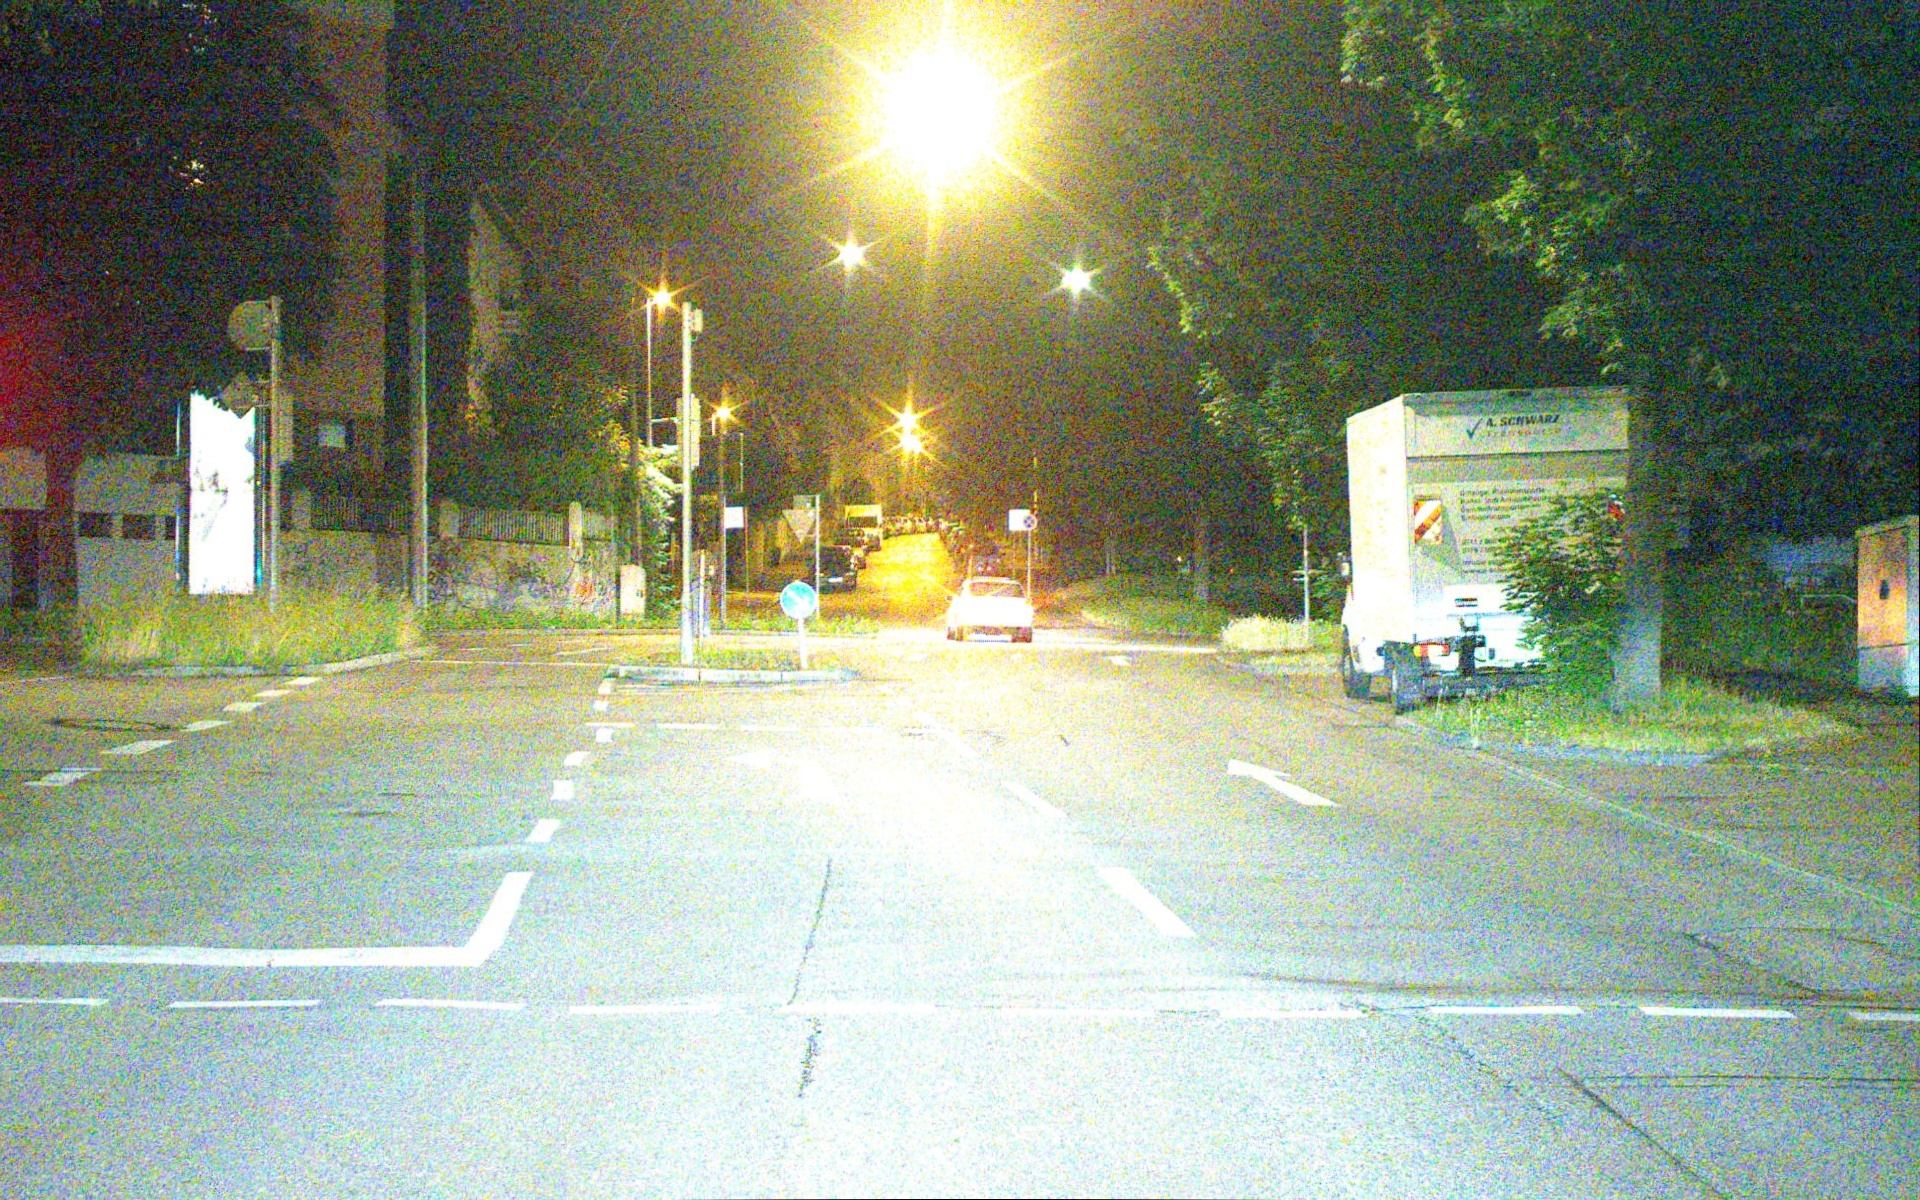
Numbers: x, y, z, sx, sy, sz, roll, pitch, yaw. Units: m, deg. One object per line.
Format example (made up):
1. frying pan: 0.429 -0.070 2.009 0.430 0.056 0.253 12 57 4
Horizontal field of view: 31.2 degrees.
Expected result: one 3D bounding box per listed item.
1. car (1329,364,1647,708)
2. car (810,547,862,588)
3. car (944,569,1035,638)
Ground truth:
1. car: 5.121 -0.617 34.221 2.297 3.082 5.840 -1 1 1
2. car: -4.847 -1.291 134.383 1.908 1.552 3.904 1 1 -1
3. car: 0.638 0.065 76.945 1.776 1.481 4.000 1 1 -3
